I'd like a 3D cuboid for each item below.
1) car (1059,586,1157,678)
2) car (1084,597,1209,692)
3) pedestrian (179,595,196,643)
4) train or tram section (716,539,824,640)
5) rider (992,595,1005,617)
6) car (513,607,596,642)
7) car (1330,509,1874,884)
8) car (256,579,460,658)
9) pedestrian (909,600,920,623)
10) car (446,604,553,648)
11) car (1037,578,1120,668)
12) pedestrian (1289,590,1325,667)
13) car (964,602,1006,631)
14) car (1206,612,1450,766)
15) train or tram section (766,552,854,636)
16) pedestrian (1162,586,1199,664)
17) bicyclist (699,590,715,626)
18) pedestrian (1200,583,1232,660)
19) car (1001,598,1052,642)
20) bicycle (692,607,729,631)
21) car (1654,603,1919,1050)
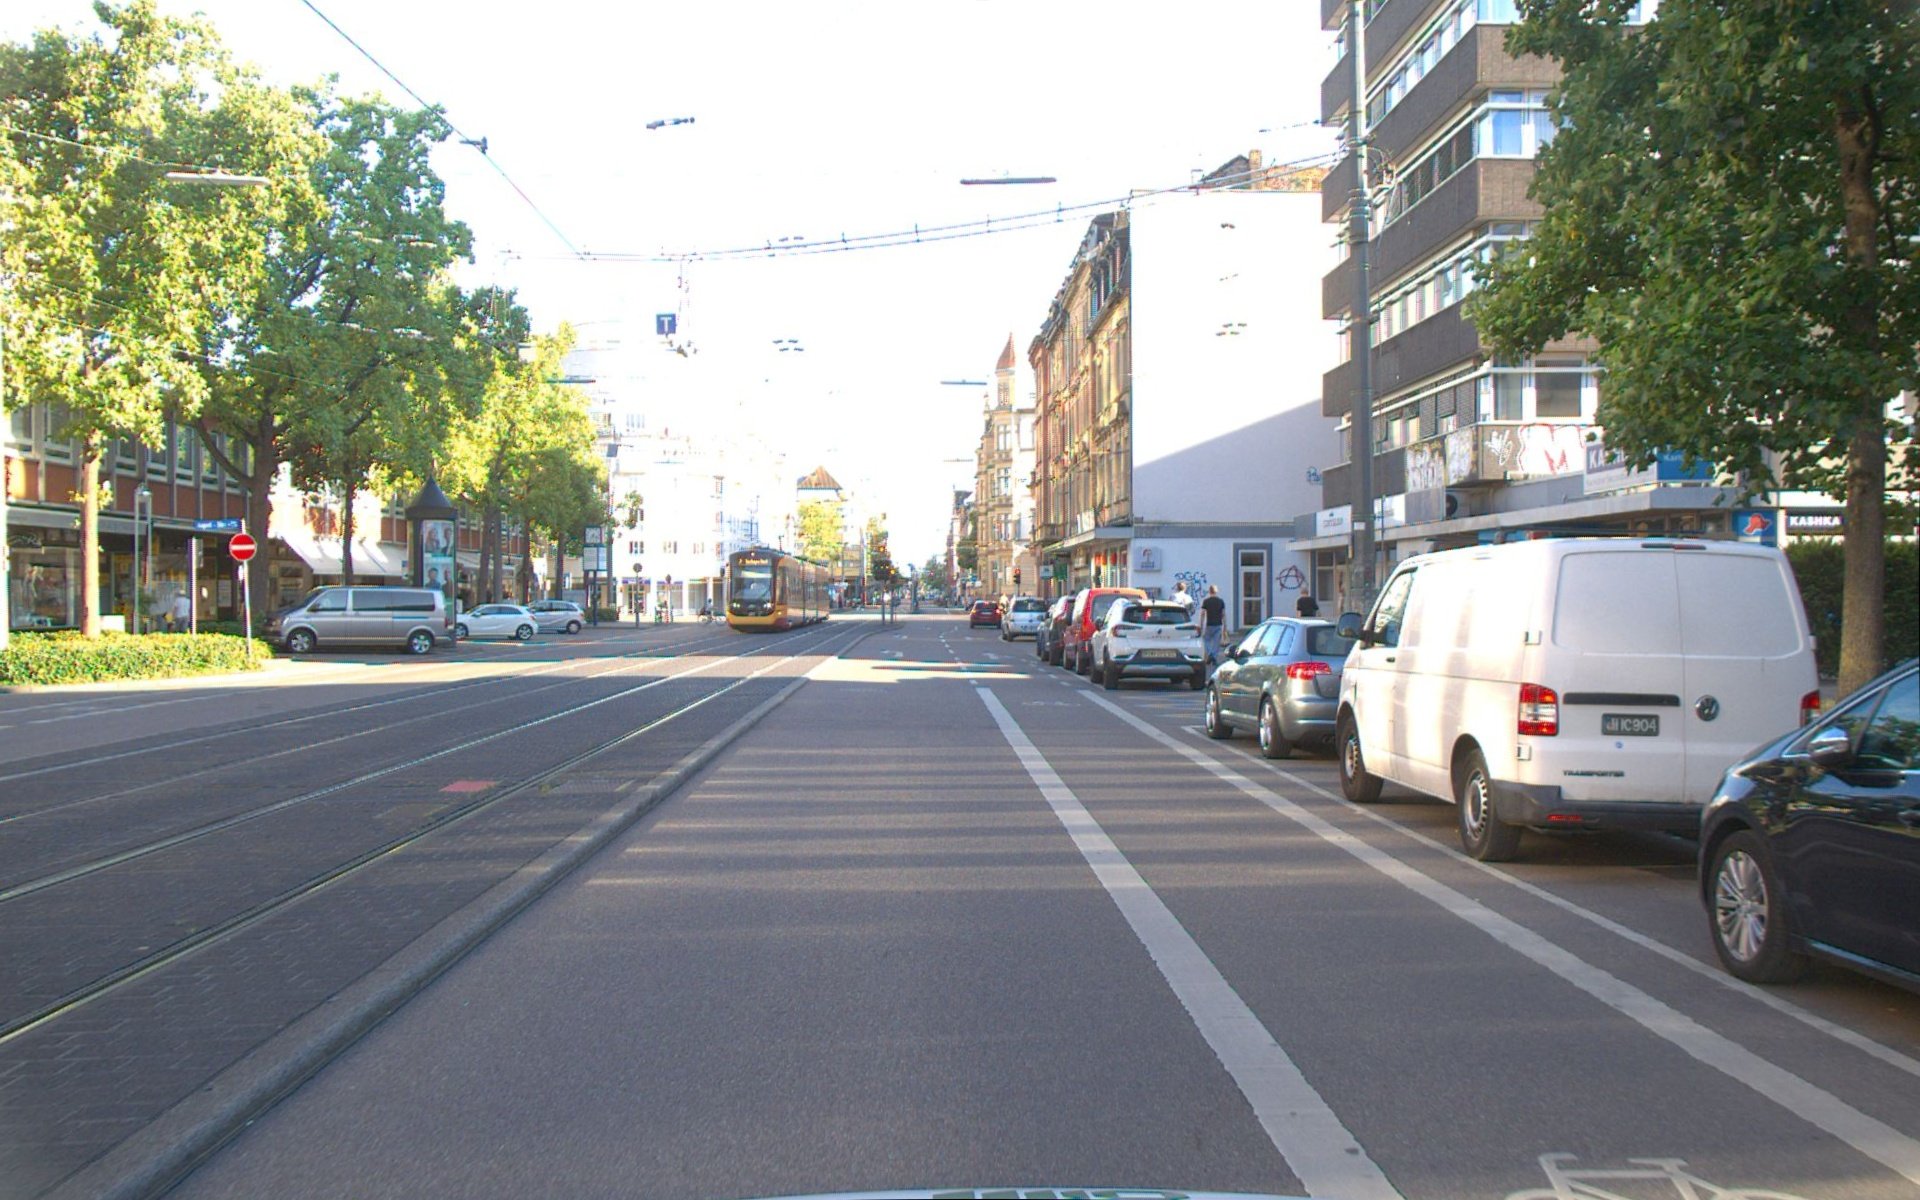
[{"bbox_3d":[3.197,0.674,36.296,1.588,1.845,4.081,2,0,-2],"label":"car"},{"bbox_3d":[3.339,0.768,30.207,1.688,1.595,4.081,0,0,-2],"label":"car"},{"bbox_3d":[-22.259,0.537,47.662,0.357,1.367,0.480,3,-1,-22],"label":"pedestrian"},{"bbox_3d":[-8.319,-0.362,74.007,2.636,4.029,12.094,3,0,3],"label":"train or tram section"},{"bbox_3d":[2.652,0.404,113.842,0.695,1.507,0.887,2,-1,10],"label":"rider"},{"bbox_3d":[-19.259,1.149,78.553,3.488,1.507,1.564,3,-1,-34],"label":"car"},{"bbox_3d":[4.074,0.541,11.463,1.931,2.049,4.557,-1,0,-1],"label":"car"},{"bbox_3d":[-17.737,0.587,48.821,5.205,2.078,2.390,3,-2,-34],"label":"car"},{"bbox_3d":[-4.216,1.055,152.801,0.901,2.049,0.759,3,-1,-1],"label":"pedestrian"},{"bbox_3d":[-18.940,1.073,68.063,3.832,1.656,1.855,3,-1,-33],"label":"car"},{"bbox_3d":[2.861,0.549,40.631,1.588,2.042,3.829,2,0,-2],"label":"car"},{"bbox_3d":[7.971,0.657,37.999,0.647,1.752,0.834,1,-1,-1],"label":"pedestrian"},{"bbox_3d":[1.341,0.893,89.731,2.024,1.413,4.223,3,0,-2],"label":"car"},{"bbox_3d":[3.812,0.865,17.757,1.588,1.394,3.929,2,0,-2],"label":"car"},{"bbox_3d":[-7.674,-0.249,86.480,2.636,3.946,12.848,3,0,3],"label":"train or tram section"},{"bbox_3d":[5.024,0.566,37.768,0.716,1.752,0.834,1,-1,-1],"label":"pedestrian"},{"bbox_3d":[-14.908,0.485,97.491,0.706,2.049,0.701,3,-1,5],"label":"bicyclist"},{"bbox_3d":[5.865,0.494,37.918,0.612,1.752,0.628,1,-1,-1],"label":"pedestrian"},{"bbox_3d":[2.496,0.751,63.191,1.588,1.582,4.081,2,0,-2],"label":"car"},{"bbox_3d":[-14.681,1.114,97.454,1.977,1.261,0.701,3,-1,5],"label":"bicycle"},{"bbox_3d":[4.029,0.778,5.630,1.588,1.499,3.969,1,0,-1],"label":"car"}]
